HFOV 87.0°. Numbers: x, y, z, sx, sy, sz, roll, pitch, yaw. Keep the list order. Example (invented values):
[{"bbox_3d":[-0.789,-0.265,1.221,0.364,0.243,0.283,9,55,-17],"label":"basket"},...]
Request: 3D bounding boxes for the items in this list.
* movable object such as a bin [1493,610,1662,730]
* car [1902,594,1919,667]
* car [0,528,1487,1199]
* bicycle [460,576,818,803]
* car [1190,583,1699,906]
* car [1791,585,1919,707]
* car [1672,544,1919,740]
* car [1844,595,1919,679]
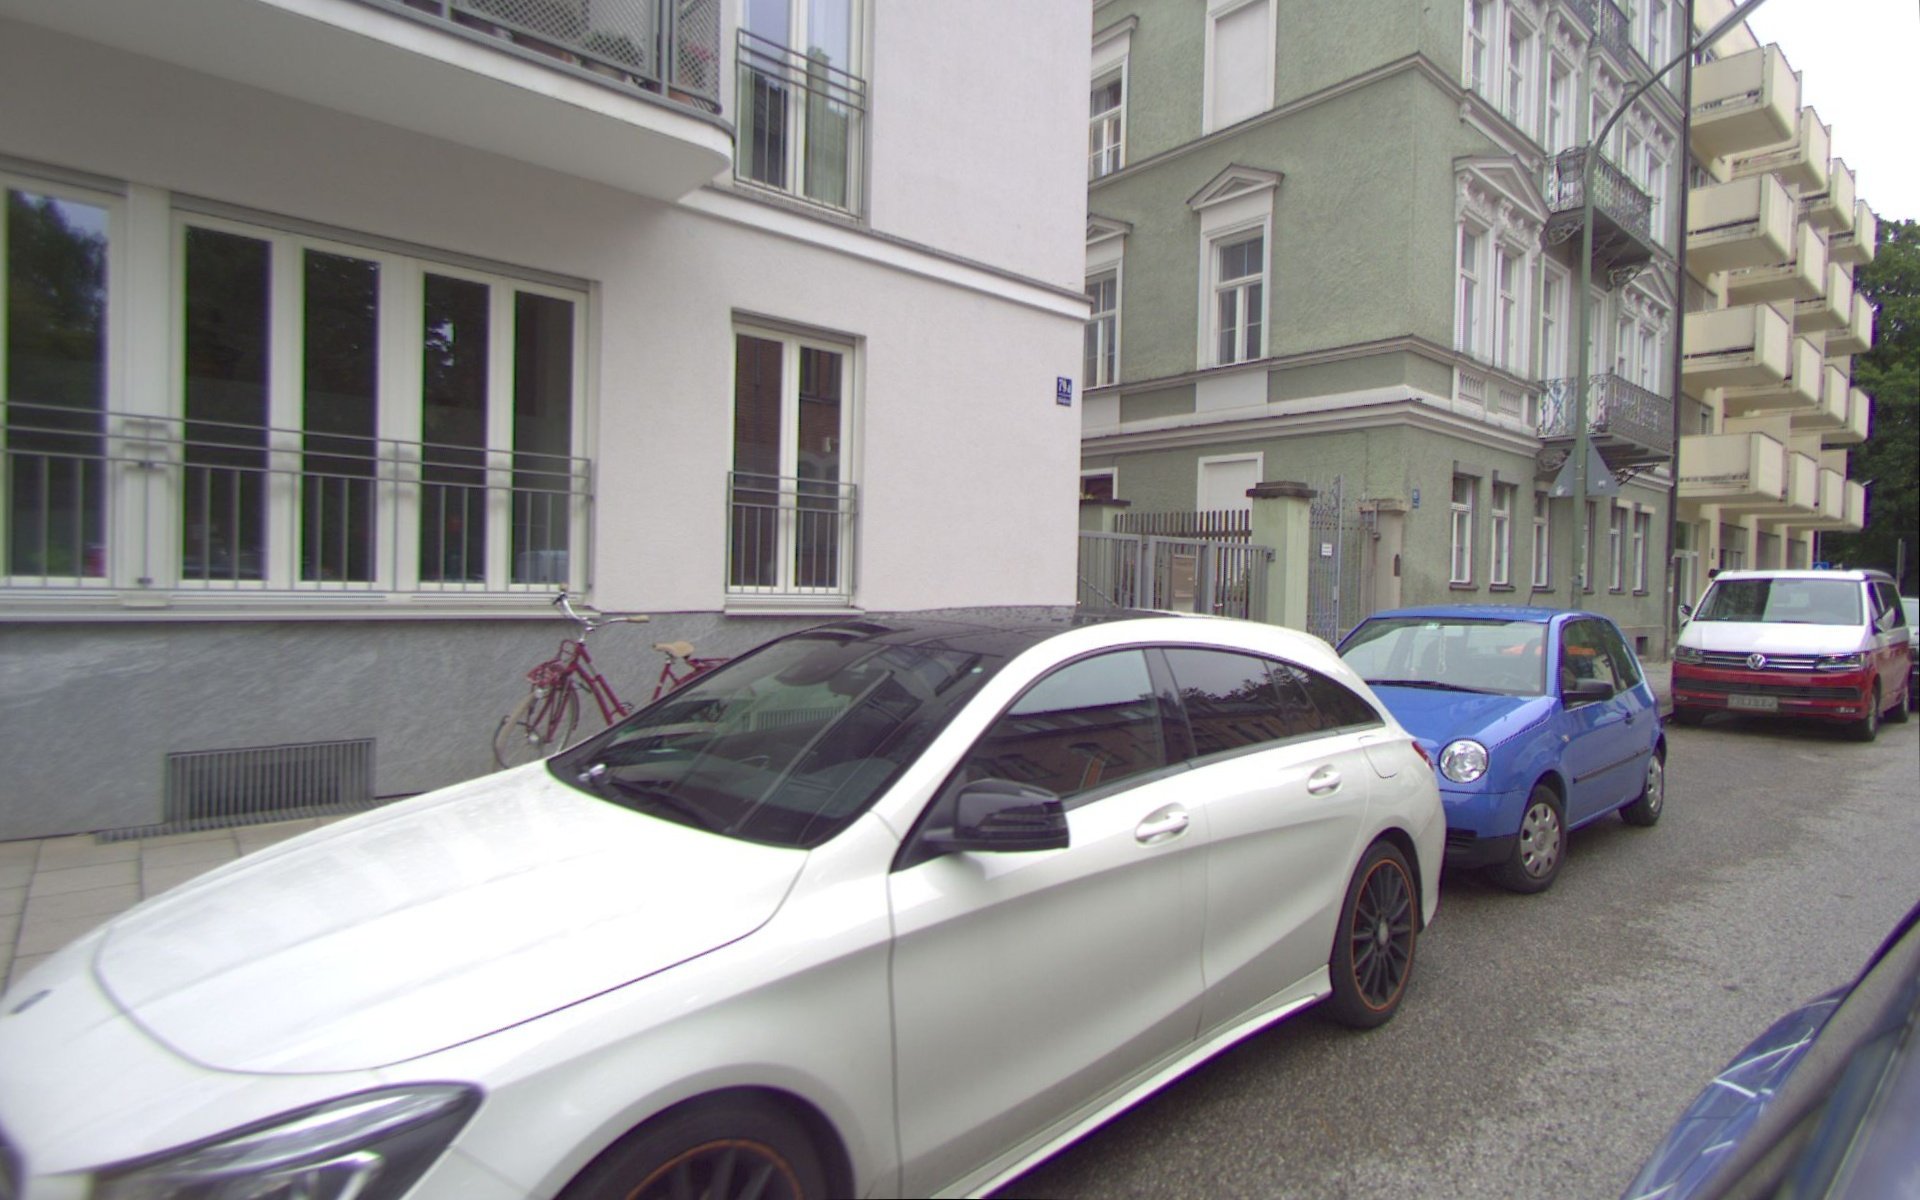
[{"bbox_3d":[7.248,0.756,11.845,2.125,1.207,1.023,1,3,-41],"label":"movable object such as a bin"},{"bbox_3d":[23.534,0.720,23.711,4.189,1.637,1.770,1,1,-42],"label":"car"},{"bbox_3d":[-0.084,0.669,3.088,4.302,1.486,1.666,0,0,-43],"label":"car"},{"bbox_3d":[-1.925,0.471,6.251,1.939,1.187,0.803,1,1,-41],"label":"bicycle"},{"bbox_3d":[3.228,0.658,6.416,3.656,1.441,1.717,1,0,-43],"label":"car"},{"bbox_3d":[15.117,0.660,16.348,4.615,1.732,1.859,0,0,-41],"label":"car"},{"bbox_3d":[10.842,0.455,12.877,4.699,2.056,1.857,1,0,-41],"label":"car"},{"bbox_3d":[19.020,0.714,20.032,4.261,1.485,1.752,1,2,-42],"label":"car"}]
